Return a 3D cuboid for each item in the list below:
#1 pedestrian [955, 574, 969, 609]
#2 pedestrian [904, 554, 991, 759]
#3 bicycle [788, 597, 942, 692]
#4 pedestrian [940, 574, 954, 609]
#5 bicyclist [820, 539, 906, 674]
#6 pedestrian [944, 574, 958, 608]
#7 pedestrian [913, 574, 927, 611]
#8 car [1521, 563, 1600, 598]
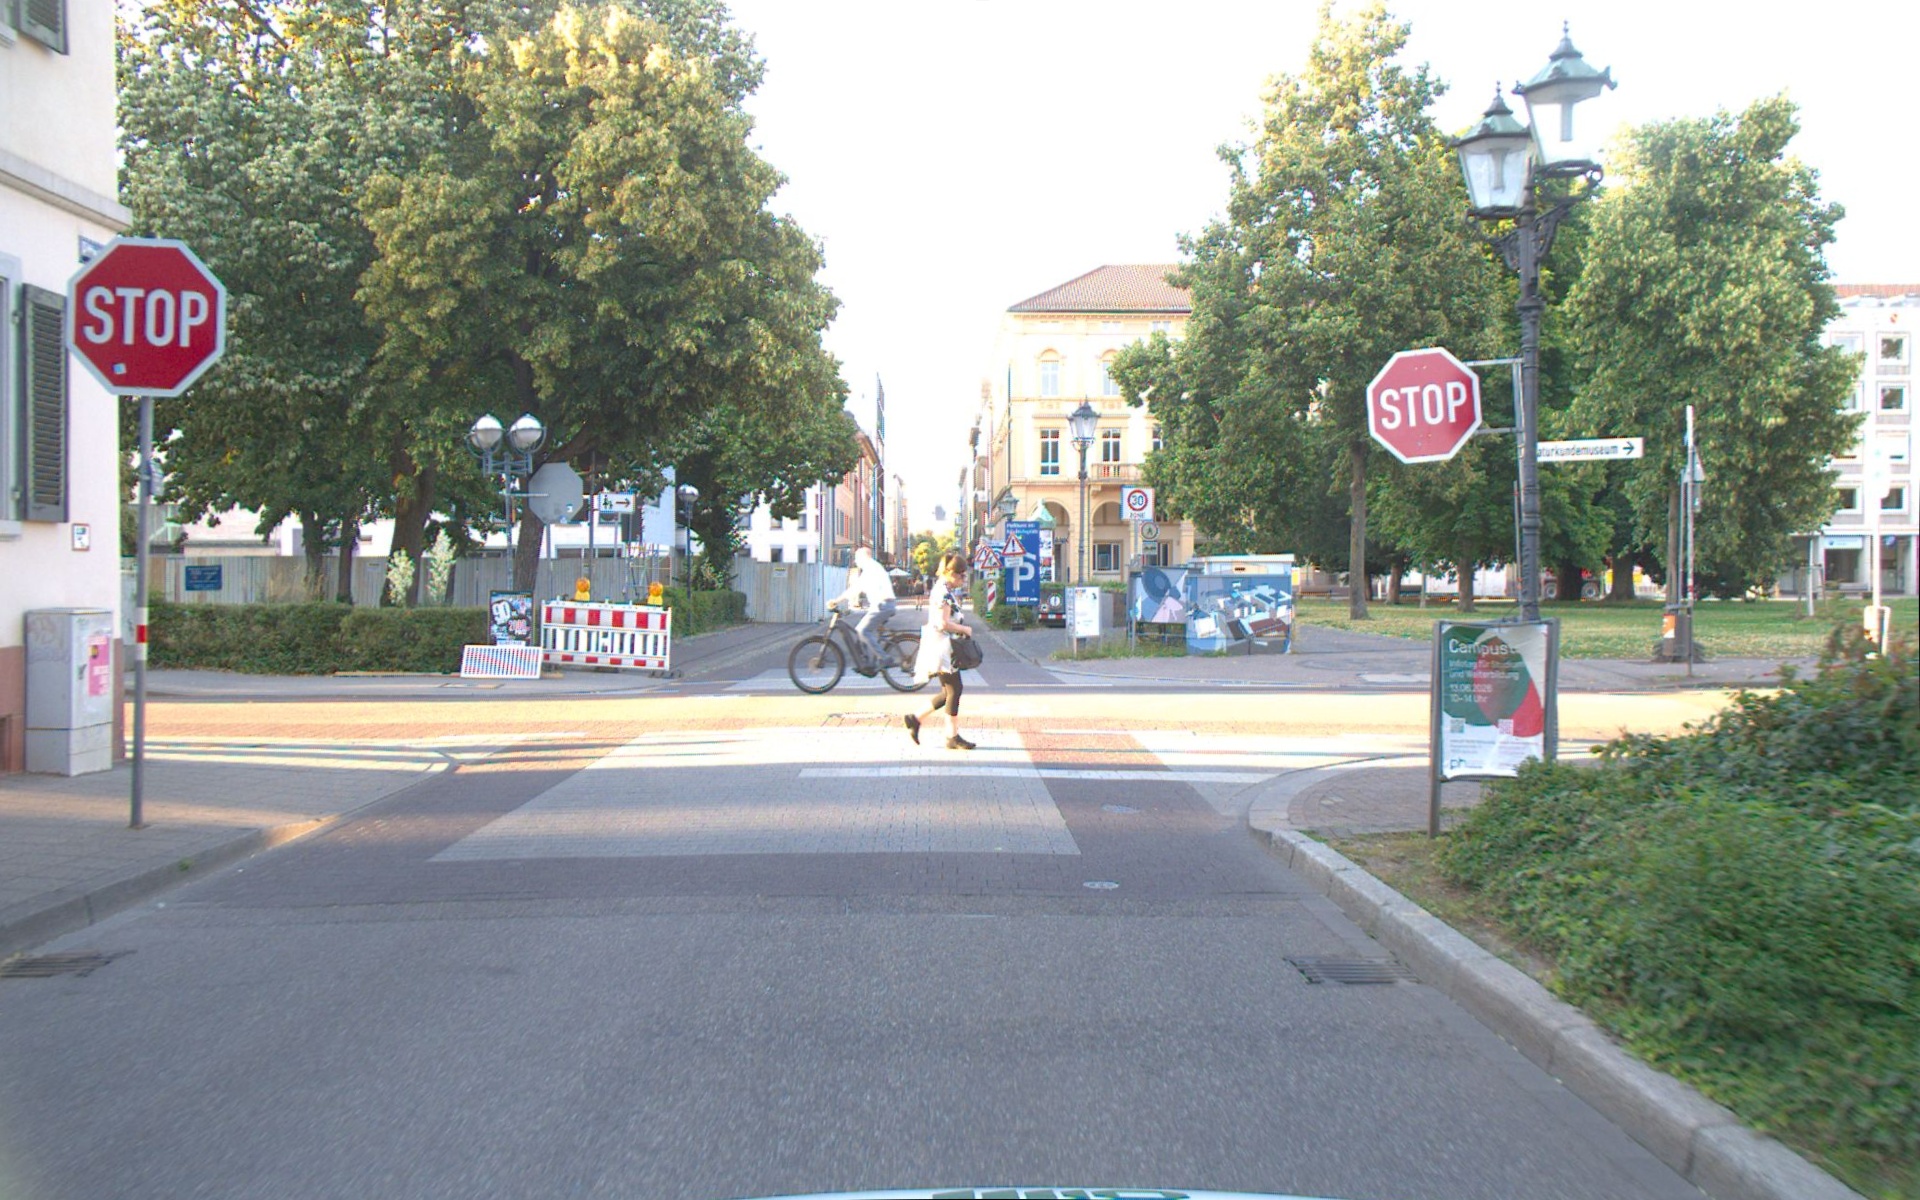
[{"bbox_3d":[0.080,-0.402,79.452,0.644,1.645,0.745,-1,0,-1],"label":"pedestrian"},{"bbox_3d":[-0.115,0.473,14.412,0.719,1.719,0.836,-1,0,-1],"label":"pedestrian"},{"bbox_3d":[-1.203,0.551,20.763,1.890,1.141,0.595,-1,0,-7],"label":"bicycle"},{"bbox_3d":[-0.621,-0.414,79.404,0.644,1.645,0.745,-1,0,-1],"label":"pedestrian"},{"bbox_3d":[-1.224,0.075,20.774,1.040,1.661,0.595,-1,0,-6],"label":"bicyclist"},{"bbox_3d":[-0.445,-0.429,80.903,0.644,1.664,0.745,-1,0,-1],"label":"pedestrian"},{"bbox_3d":[-1.949,-0.380,80.663,0.644,1.790,0.745,-1,0,-1],"label":"pedestrian"},{"bbox_3d":[35.880,-1.169,98.901,3.949,2.049,2.000,-1,0,0],"label":"car"}]
